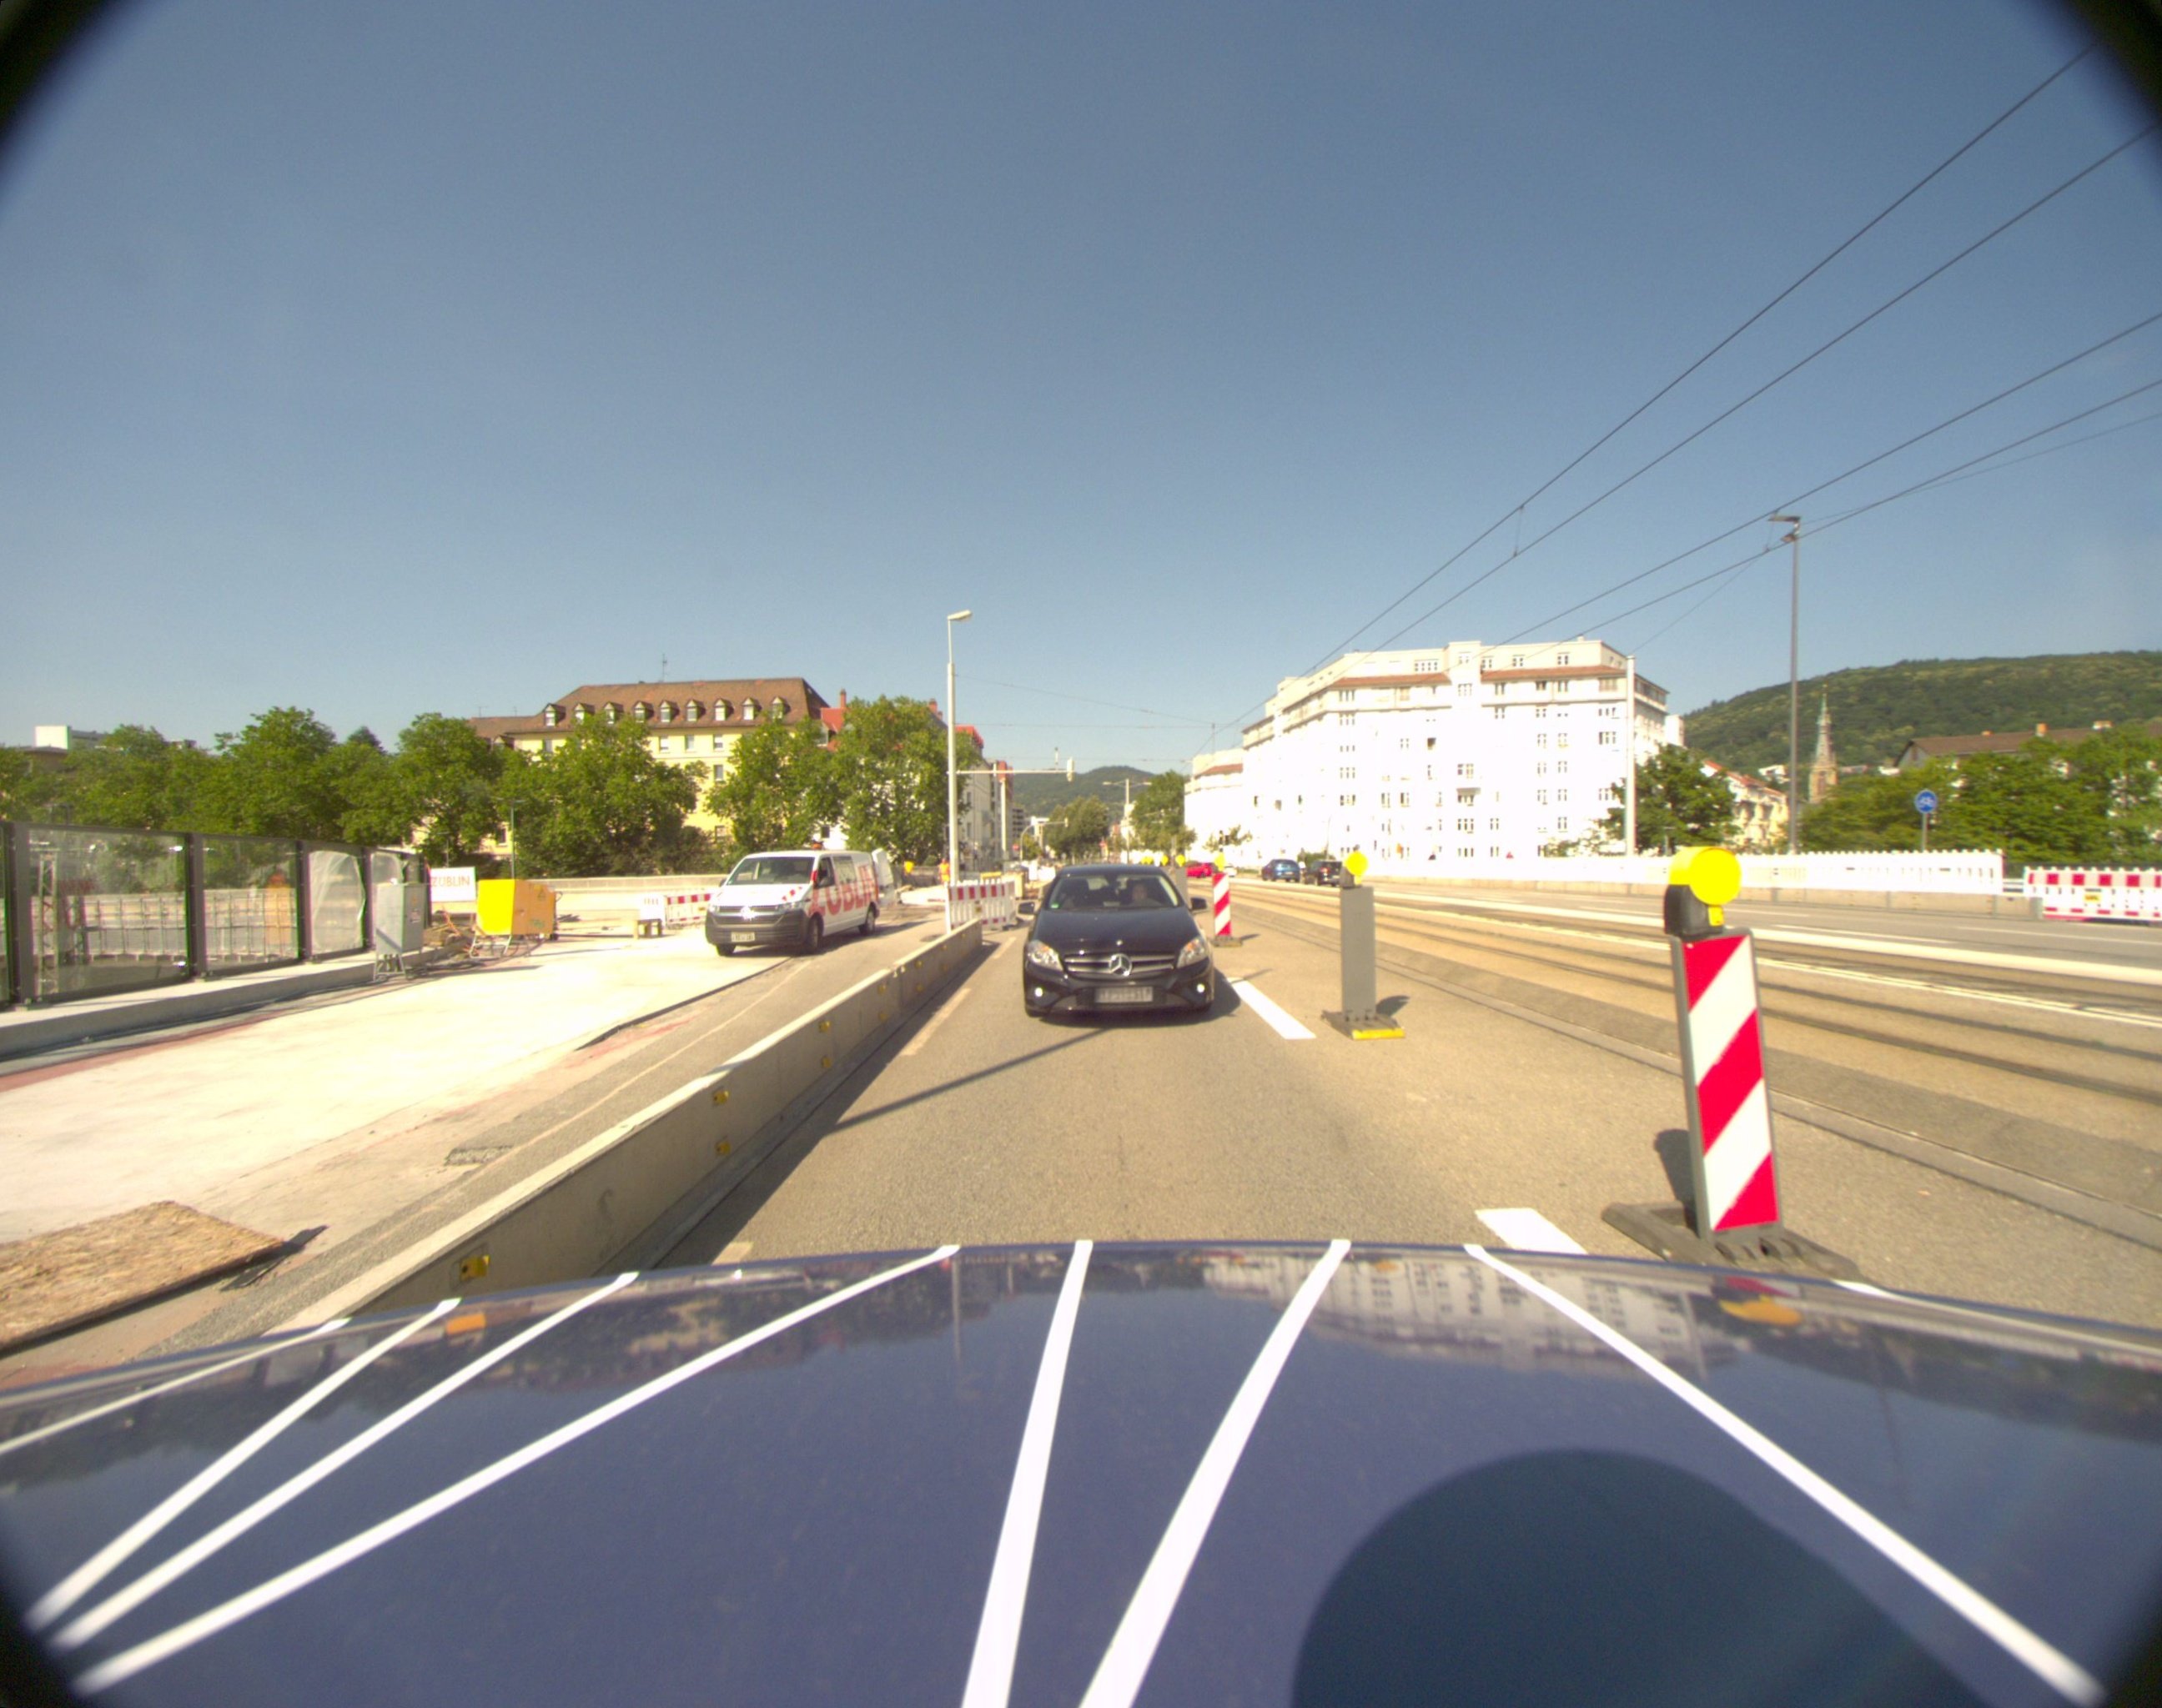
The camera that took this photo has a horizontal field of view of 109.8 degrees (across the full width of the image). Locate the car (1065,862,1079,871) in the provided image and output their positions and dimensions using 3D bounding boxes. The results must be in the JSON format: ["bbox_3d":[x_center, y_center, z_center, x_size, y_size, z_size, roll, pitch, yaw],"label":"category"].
[{"bbox_3d":[-1.328,1.946,116.384,1.768,1.346,3.998,-2,-1,-6],"label":"car"}]

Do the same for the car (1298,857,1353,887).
[{"bbox_3d":[12.619,0.895,39.458,1.509,1.491,4.177,1,0,0],"label":"car"}]

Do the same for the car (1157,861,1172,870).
[{"bbox_3d":[14.398,1.961,131.144,1.740,1.475,3.739,-1,0,-5],"label":"car"}]

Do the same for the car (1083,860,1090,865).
[{"bbox_3d":[1.591,2.582,224.311,1.798,1.475,3.739,-1,0,-3],"label":"car"}]

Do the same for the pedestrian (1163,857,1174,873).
[{"bbox_3d":[10.000,1.244,86.603,1.003,1.697,0.822,-1,1,-7],"label":"pedestrian"}]

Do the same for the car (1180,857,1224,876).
[{"bbox_3d":[10.309,1.104,65.145,1.540,1.429,3.972,-4,0,-29],"label":"car"}]

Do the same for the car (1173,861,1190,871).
[{"bbox_3d":[15.306,1.795,115.793,1.740,1.475,3.739,-1,0,-5],"label":"car"}]

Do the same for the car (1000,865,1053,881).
[{"bbox_3d":[-5.154,1.754,72.076,4.635,1.429,1.645,1,0,13],"label":"car"}]

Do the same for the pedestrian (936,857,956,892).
[{"bbox_3d":[-6.821,1.034,38.457,0.821,1.784,0.864,1,0,-1],"label":"pedestrian"}]

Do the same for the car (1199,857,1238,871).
[{"bbox_3d":[14.875,1.071,82.541,1.705,1.404,4.475,0,0,-30],"label":"car"}]

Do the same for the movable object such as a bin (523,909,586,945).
[{"bbox_3d":[-13.141,1.811,18.978,0.754,0.837,1.107,-1,-3,40],"label":"movable object such as a bin"}]

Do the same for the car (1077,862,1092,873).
[{"bbox_3d":[0.470,1.712,96.796,1.767,1.346,4.000,-2,-1,-1],"label":"car"}]

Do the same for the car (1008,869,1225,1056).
[{"bbox_3d":[0.353,0.933,8.503,1.702,1.400,4.623,-3,0,2],"label":"car"}]

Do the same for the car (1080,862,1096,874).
[{"bbox_3d":[0.838,1.651,89.616,1.766,1.313,4.001,-2,-1,1],"label":"car"}]

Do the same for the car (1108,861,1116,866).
[{"bbox_3d":[8.424,2.521,204.953,1.739,1.475,3.739,-1,0,-3],"label":"car"}]

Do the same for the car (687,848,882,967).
[{"bbox_3d":[-5.796,0.933,15.654,1.883,2.021,4.891,-2,0,2],"label":"car"}]

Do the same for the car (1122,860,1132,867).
[{"bbox_3d":[10.650,2.180,175.727,1.740,1.475,3.739,-1,0,-5],"label":"car"}]

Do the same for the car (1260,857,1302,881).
[{"bbox_3d":[13.481,0.981,51.370,1.674,1.541,4.556,0,0,0],"label":"car"}]

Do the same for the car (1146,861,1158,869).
[{"bbox_3d":[13.470,2.075,144.245,1.740,1.475,3.739,-1,0,-5],"label":"car"}]

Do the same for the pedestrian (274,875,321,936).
[{"bbox_3d":[-31.349,2.042,30.409,0.878,2.320,0.797,-7,2,-24],"label":"pedestrian"}]
